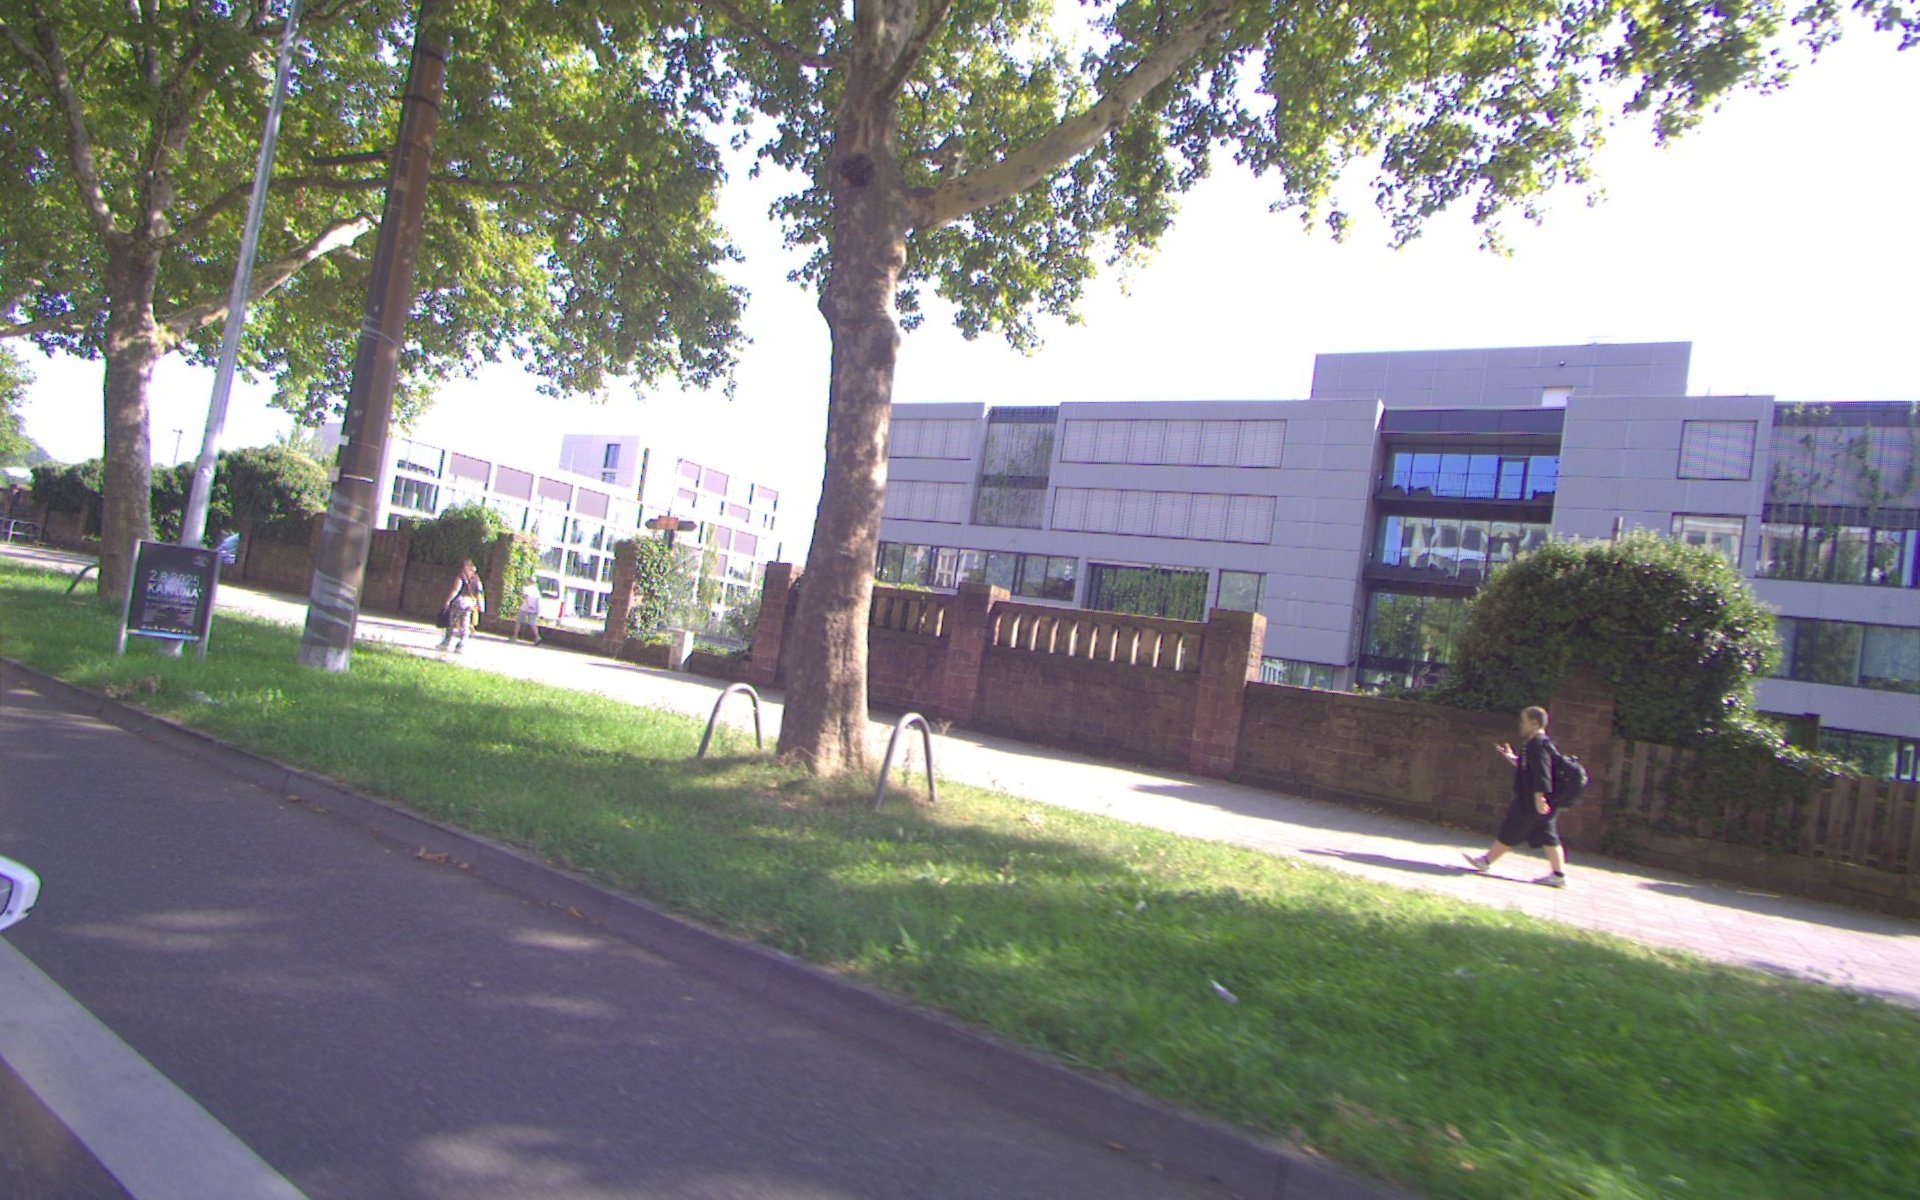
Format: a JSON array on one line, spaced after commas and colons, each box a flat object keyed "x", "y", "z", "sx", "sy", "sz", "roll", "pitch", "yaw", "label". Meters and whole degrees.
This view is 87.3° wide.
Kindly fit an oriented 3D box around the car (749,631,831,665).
[{"x": -9.424, "y": 2.703, "z": 56.075, "sx": 1.818, "sy": 1.308, "sz": 4.478, "roll": 7, "pitch": -3, "yaw": 35, "label": "car"}]

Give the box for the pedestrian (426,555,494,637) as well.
[{"x": -10.941, "y": -0.084, "z": 22.011, "sx": 0.931, "sy": 1.623, "sz": 0.807, "roll": 7, "pitch": -1, "yaw": 33, "label": "pedestrian"}]

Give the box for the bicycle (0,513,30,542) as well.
[{"x": -37.145, "y": -2.868, "z": 38.876, "sx": 0.498, "sy": 0.981, "sz": 1.657, "roll": 7, "pitch": -1, "yaw": 37, "label": "bicycle"}]

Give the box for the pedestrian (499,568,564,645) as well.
[{"x": -9.811, "y": 0.153, "z": 23.039, "sx": 0.931, "sy": 1.623, "sz": 0.807, "roll": 7, "pitch": -1, "yaw": 33, "label": "pedestrian"}]

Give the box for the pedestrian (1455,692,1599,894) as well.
[{"x": 5.534, "y": 1.836, "z": 9.821, "sx": 0.995, "sy": 1.705, "sz": 0.820, "roll": 7, "pitch": -2, "yaw": 32, "label": "pedestrian"}]

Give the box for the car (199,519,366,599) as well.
[{"x": -28.076, "y": -1.651, "z": 41.896, "sx": 2.097, "sy": 2.394, "sz": 5.140, "roll": 7, "pitch": -3, "yaw": 35, "label": "car"}]

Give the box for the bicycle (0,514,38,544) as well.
[{"x": -36.468, "y": -2.758, "z": 38.450, "sx": 0.498, "sy": 0.981, "sz": 1.658, "roll": 7, "pitch": -1, "yaw": 33, "label": "bicycle"}]

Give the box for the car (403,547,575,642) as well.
[{"x": -15.802, "y": -0.125, "z": 34.054, "sx": 2.022, "sy": 2.341, "sz": 4.677, "roll": 6, "pitch": -5, "yaw": 32, "label": "car"}]

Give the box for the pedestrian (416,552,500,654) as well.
[{"x": -8.962, "y": 0.061, "z": 17.958, "sx": 0.931, "sy": 1.655, "sz": 0.807, "roll": 7, "pitch": -1, "yaw": 33, "label": "pedestrian"}]

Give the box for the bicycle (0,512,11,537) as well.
[{"x": -39.531, "y": -3.150, "z": 40.594, "sx": 0.498, "sy": 0.981, "sz": 1.657, "roll": 7, "pitch": -1, "yaw": 37, "label": "bicycle"}]
